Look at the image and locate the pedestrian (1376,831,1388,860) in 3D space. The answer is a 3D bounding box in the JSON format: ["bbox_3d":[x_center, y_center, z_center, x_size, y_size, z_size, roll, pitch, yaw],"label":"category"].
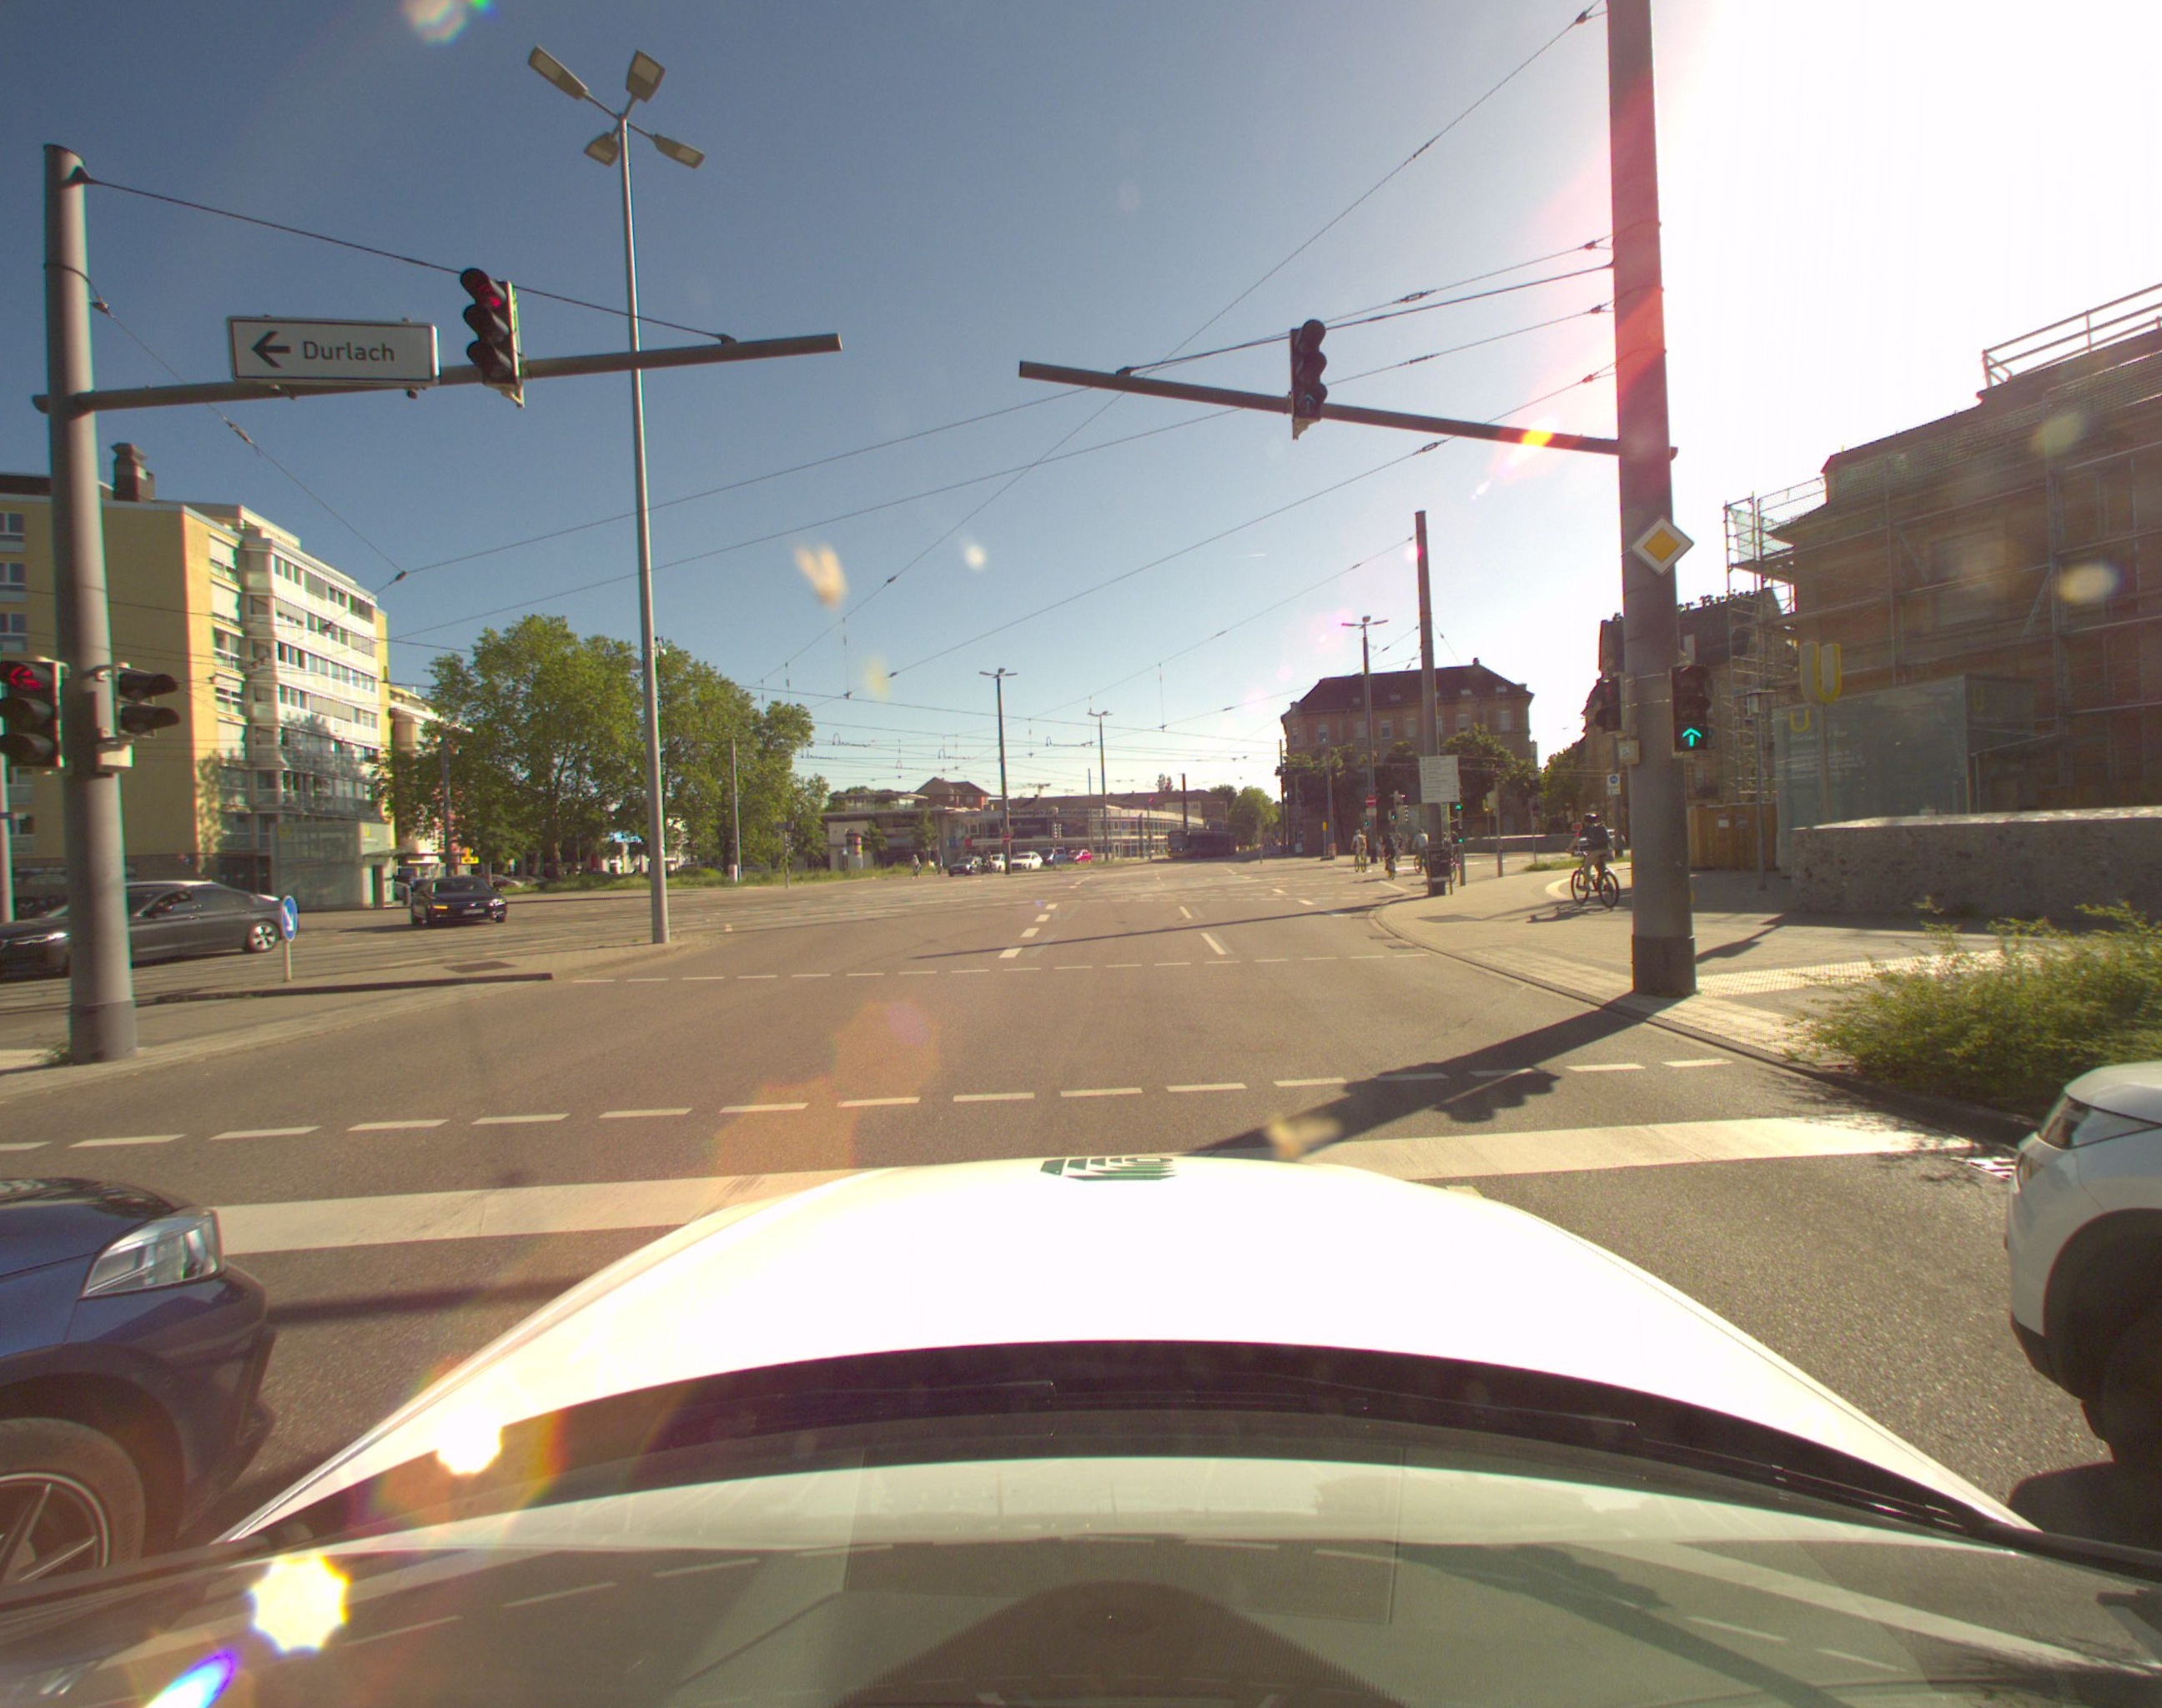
[{"bbox_3d":[20.710,-0.580,56.039,0.574,2.013,0.449,-3,0,-16],"label":"pedestrian"}]

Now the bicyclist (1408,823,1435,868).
[{"bbox_3d":[14.020,-0.337,33.561,0.742,1.778,0.926,-3,0,9],"label":"bicyclist"}]

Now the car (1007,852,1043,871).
[{"bbox_3d":[-4.470,0.545,65.205,1.613,1.382,3.754,-2,0,17],"label":"car"}]

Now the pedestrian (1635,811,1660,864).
[{"bbox_3d":[20.729,-0.613,29.792,0.692,1.881,0.725,-2,0,35],"label":"pedestrian"}]

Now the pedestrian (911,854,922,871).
[{"bbox_3d":[-12.137,0.645,59.974,0.418,1.204,0.685,-2,0,30],"label":"pedestrian"}]

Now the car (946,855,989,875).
[{"bbox_3d":[-8.496,0.819,61.225,1.689,1.354,3.719,-2,0,19],"label":"car"}]

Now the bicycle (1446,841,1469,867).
[{"bbox_3d":[16.770,-0.018,36.267,0.567,1.125,1.747,-3,0,14],"label":"bicycle"}]

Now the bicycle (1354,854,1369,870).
[{"bbox_3d":[12.550,0.356,36.399,0.532,0.655,1.735,-3,0,21],"label":"bicycle"}]

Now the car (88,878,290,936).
[{"bbox_3d":[-31.049,1.805,28.533,4.312,1.653,1.844,-2,0,-22],"label":"car"}]

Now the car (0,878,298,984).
[{"bbox_3d":[-17.529,1.299,15.050,1.855,1.501,4.561,-2,0,-4],"label":"car"}]

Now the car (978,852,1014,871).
[{"bbox_3d":[-6.975,0.613,67.149,1.613,1.424,3.702,-2,0,17],"label":"car"}]

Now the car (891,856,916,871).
[{"bbox_3d":[-21.866,1.135,100.576,1.958,1.706,4.085,-2,0,2],"label":"car"}]

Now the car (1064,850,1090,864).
[{"bbox_3d":[-0.437,0.295,86.269,1.613,1.364,3.703,-2,0,18],"label":"car"}]

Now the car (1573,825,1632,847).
[{"bbox_3d":[41.026,-1.409,64.050,4.330,1.563,1.786,-2,0,-24],"label":"car"}]

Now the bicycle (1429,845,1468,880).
[{"bbox_3d":[12.931,0.285,28.723,0.681,1.163,1.887,-2,0,7],"label":"bicycle"}]

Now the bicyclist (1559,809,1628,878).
[{"bbox_3d":[10.109,-0.204,16.087,0.717,1.279,0.908,-4,0,1],"label":"bicyclist"}]

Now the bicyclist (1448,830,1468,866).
[{"bbox_3d":[16.749,-0.253,36.234,0.567,1.568,0.950,-3,0,14],"label":"bicyclist"}]

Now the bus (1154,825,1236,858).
[{"bbox_3d":[15.078,-1.433,103.756,3.802,3.607,25.003,-1,0,23],"label":"bus"}]

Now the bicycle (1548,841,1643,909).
[{"bbox_3d":[10.121,0.383,16.113,0.687,1.218,1.836,-4,0,2],"label":"bicycle"}]

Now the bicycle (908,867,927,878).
[{"bbox_3d":[-12.054,1.336,60.066,0.418,0.718,1.484,-2,0,30],"label":"bicycle"}]

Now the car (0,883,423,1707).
[{"bbox_3d":[-2.665,0.809,0.142,1.704,1.445,4.034,-1,0,2],"label":"car"}]

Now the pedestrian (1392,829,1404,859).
[{"bbox_3d":[21.385,-0.667,54.918,0.461,2.013,0.449,-3,0,-16],"label":"pedestrian"}]

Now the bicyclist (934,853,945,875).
[{"bbox_3d":[-10.799,0.758,62.177,0.564,1.713,0.651,-2,0,15],"label":"bicyclist"}]

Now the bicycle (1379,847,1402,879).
[{"bbox_3d":[11.686,0.320,30.747,0.621,1.113,1.859,1,2,15],"label":"bicycle"}]

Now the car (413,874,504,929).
[{"bbox_3d":[-18.786,1.379,24.501,1.737,1.438,4.125,-2,0,-43],"label":"car"}]

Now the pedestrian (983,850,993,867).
[{"bbox_3d":[-6.932,0.344,60.735,0.419,1.204,0.753,-2,0,19],"label":"pedestrian"}]

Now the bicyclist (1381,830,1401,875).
[{"bbox_3d":[11.665,-0.065,30.666,0.621,1.637,0.999,1,2,15],"label":"bicyclist"}]

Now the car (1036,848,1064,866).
[{"bbox_3d":[-2.989,0.284,79.198,1.613,1.692,3.702,-2,0,17],"label":"car"}]

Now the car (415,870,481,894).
[{"bbox_3d":[-49.917,2.195,64.302,3.742,1.662,1.585,-2,0,-18],"label":"car"}]

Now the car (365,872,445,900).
[{"bbox_3d":[-45.829,2.132,55.284,3.742,1.662,1.585,-2,0,-18],"label":"car"}]

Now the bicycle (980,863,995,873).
[{"bbox_3d":[-6.976,1.044,60.591,0.419,0.718,1.642,-2,0,19],"label":"bicycle"}]

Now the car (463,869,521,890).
[{"bbox_3d":[-51.491,2.227,71.225,3.742,1.662,1.585,-2,0,-18],"label":"car"}]

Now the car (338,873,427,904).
[{"bbox_3d":[-42.956,2.091,50.173,3.742,1.662,1.585,-2,0,-18],"label":"car"}]

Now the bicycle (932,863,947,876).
[{"bbox_3d":[-10.800,1.167,62.242,0.464,0.926,1.481,-2,0,15],"label":"bicycle"}]

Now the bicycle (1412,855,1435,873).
[{"bbox_3d":[14.040,0.402,33.411,0.534,0.655,1.471,-3,0,9],"label":"bicycle"}]

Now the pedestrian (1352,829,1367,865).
[{"bbox_3d":[12.474,-0.302,36.432,0.543,1.562,0.863,-2,0,22],"label":"pedestrian"}]

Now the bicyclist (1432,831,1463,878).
[{"bbox_3d":[12.930,0.004,28.780,0.681,1.598,0.979,-2,0,7],"label":"bicyclist"}]
